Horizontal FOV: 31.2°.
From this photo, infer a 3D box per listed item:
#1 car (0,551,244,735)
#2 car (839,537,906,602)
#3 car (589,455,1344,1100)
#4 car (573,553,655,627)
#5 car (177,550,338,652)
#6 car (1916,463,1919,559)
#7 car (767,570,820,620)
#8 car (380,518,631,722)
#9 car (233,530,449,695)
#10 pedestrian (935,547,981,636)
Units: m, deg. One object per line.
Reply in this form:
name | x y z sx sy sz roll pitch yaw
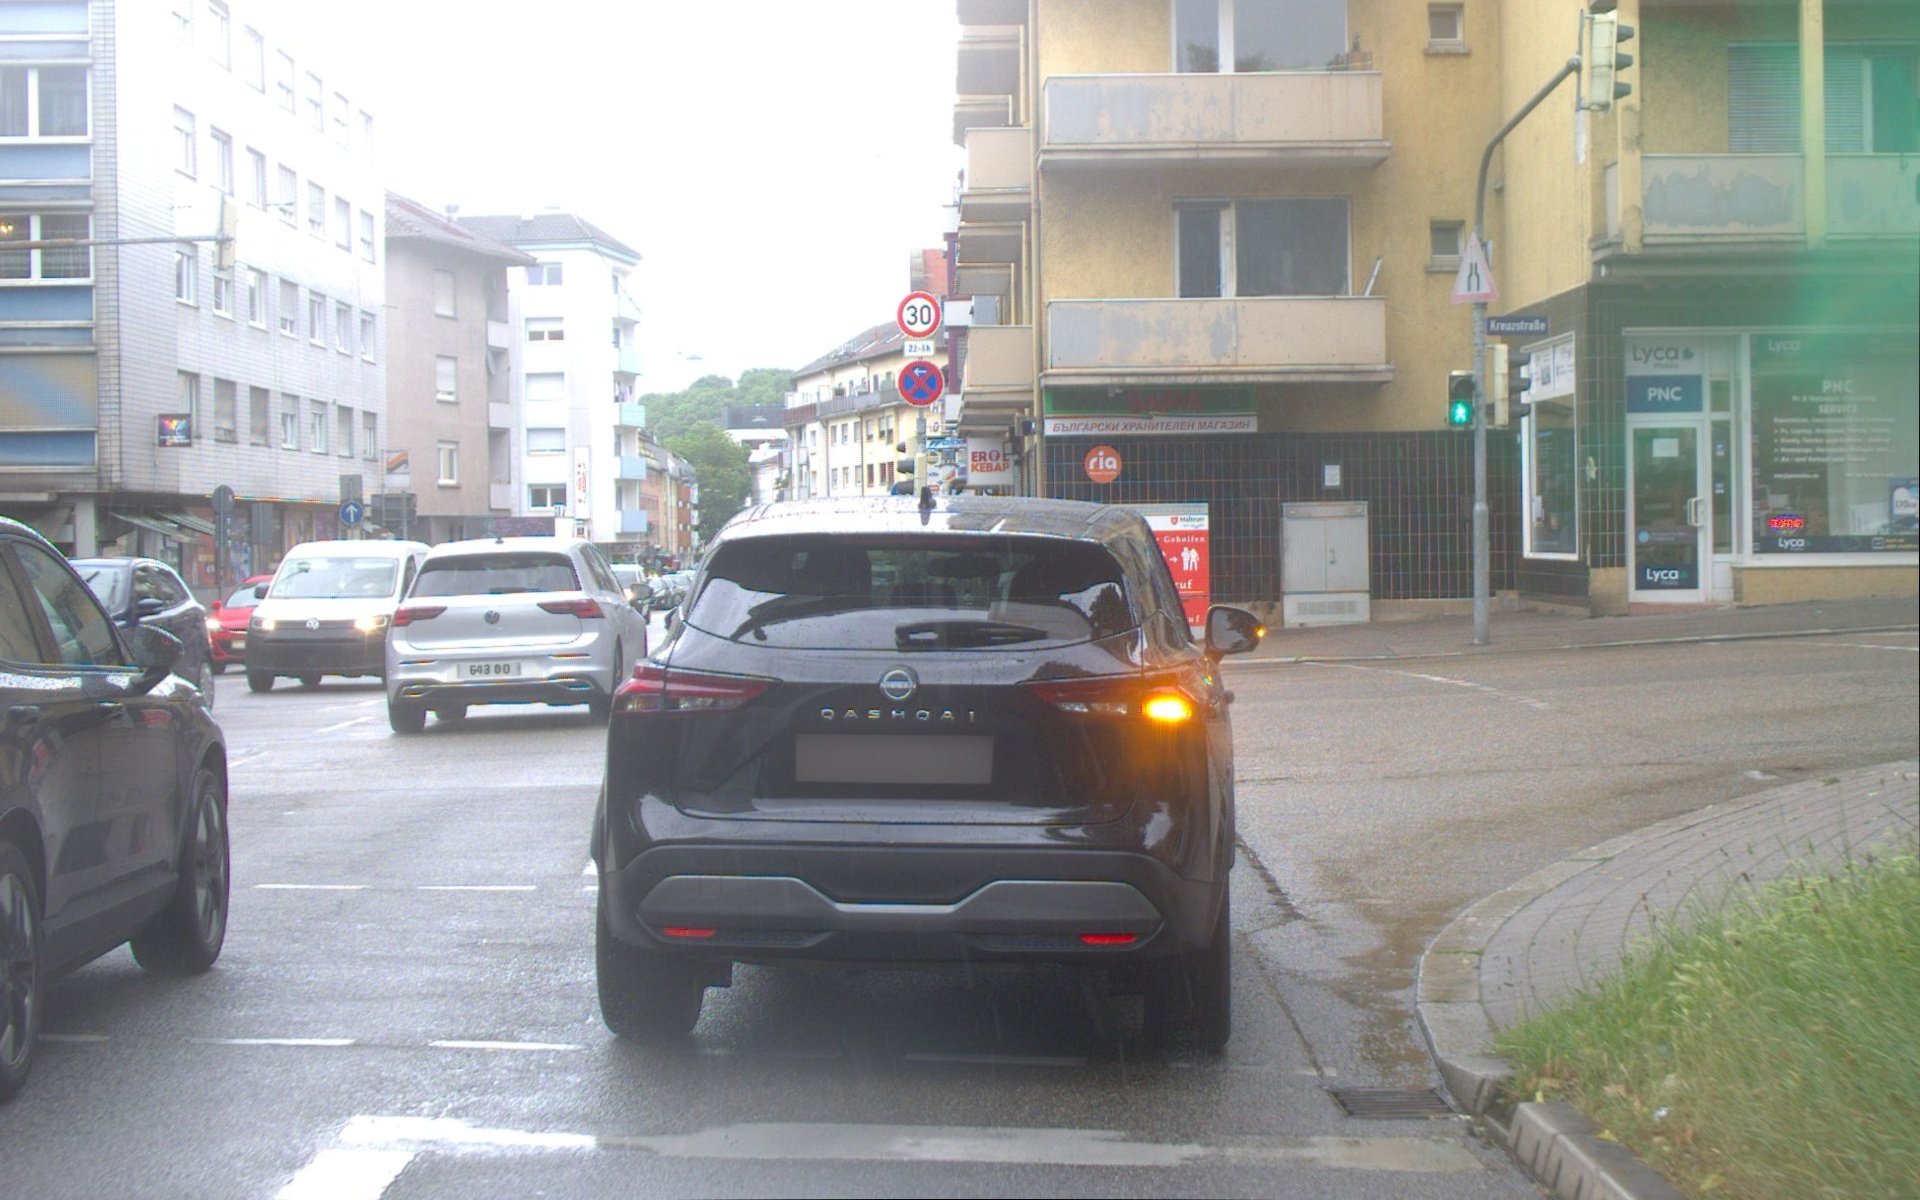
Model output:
car | -7.760 0.346 30.707 1.787 1.486 3.814 -3 1 2
car | -2.915 -1.027 114.012 1.993 2.007 4.001 -3 1 -3
car | 0.147 0.431 11.073 1.960 1.647 4.000 1 1 4
car | -10.119 -0.327 100.797 1.910 2.007 4.000 -3 1 0
car | -10.702 -0.014 52.652 1.804 1.404 4.393 -3 1 -4
car | 12.321 -0.784 37.182 3.471 1.551 1.473 -3 2 -2
car | -7.259 -0.232 150.327 1.993 2.007 4.000 -3 1 1
car | -3.489 0.104 26.960 1.767 1.439 4.001 -1 1 -5
car | -7.367 0.109 41.296 1.779 1.809 4.406 -2 1 -1
pedestrian | -0.029 -0.152 60.308 0.704 1.553 0.629 0 1 9
